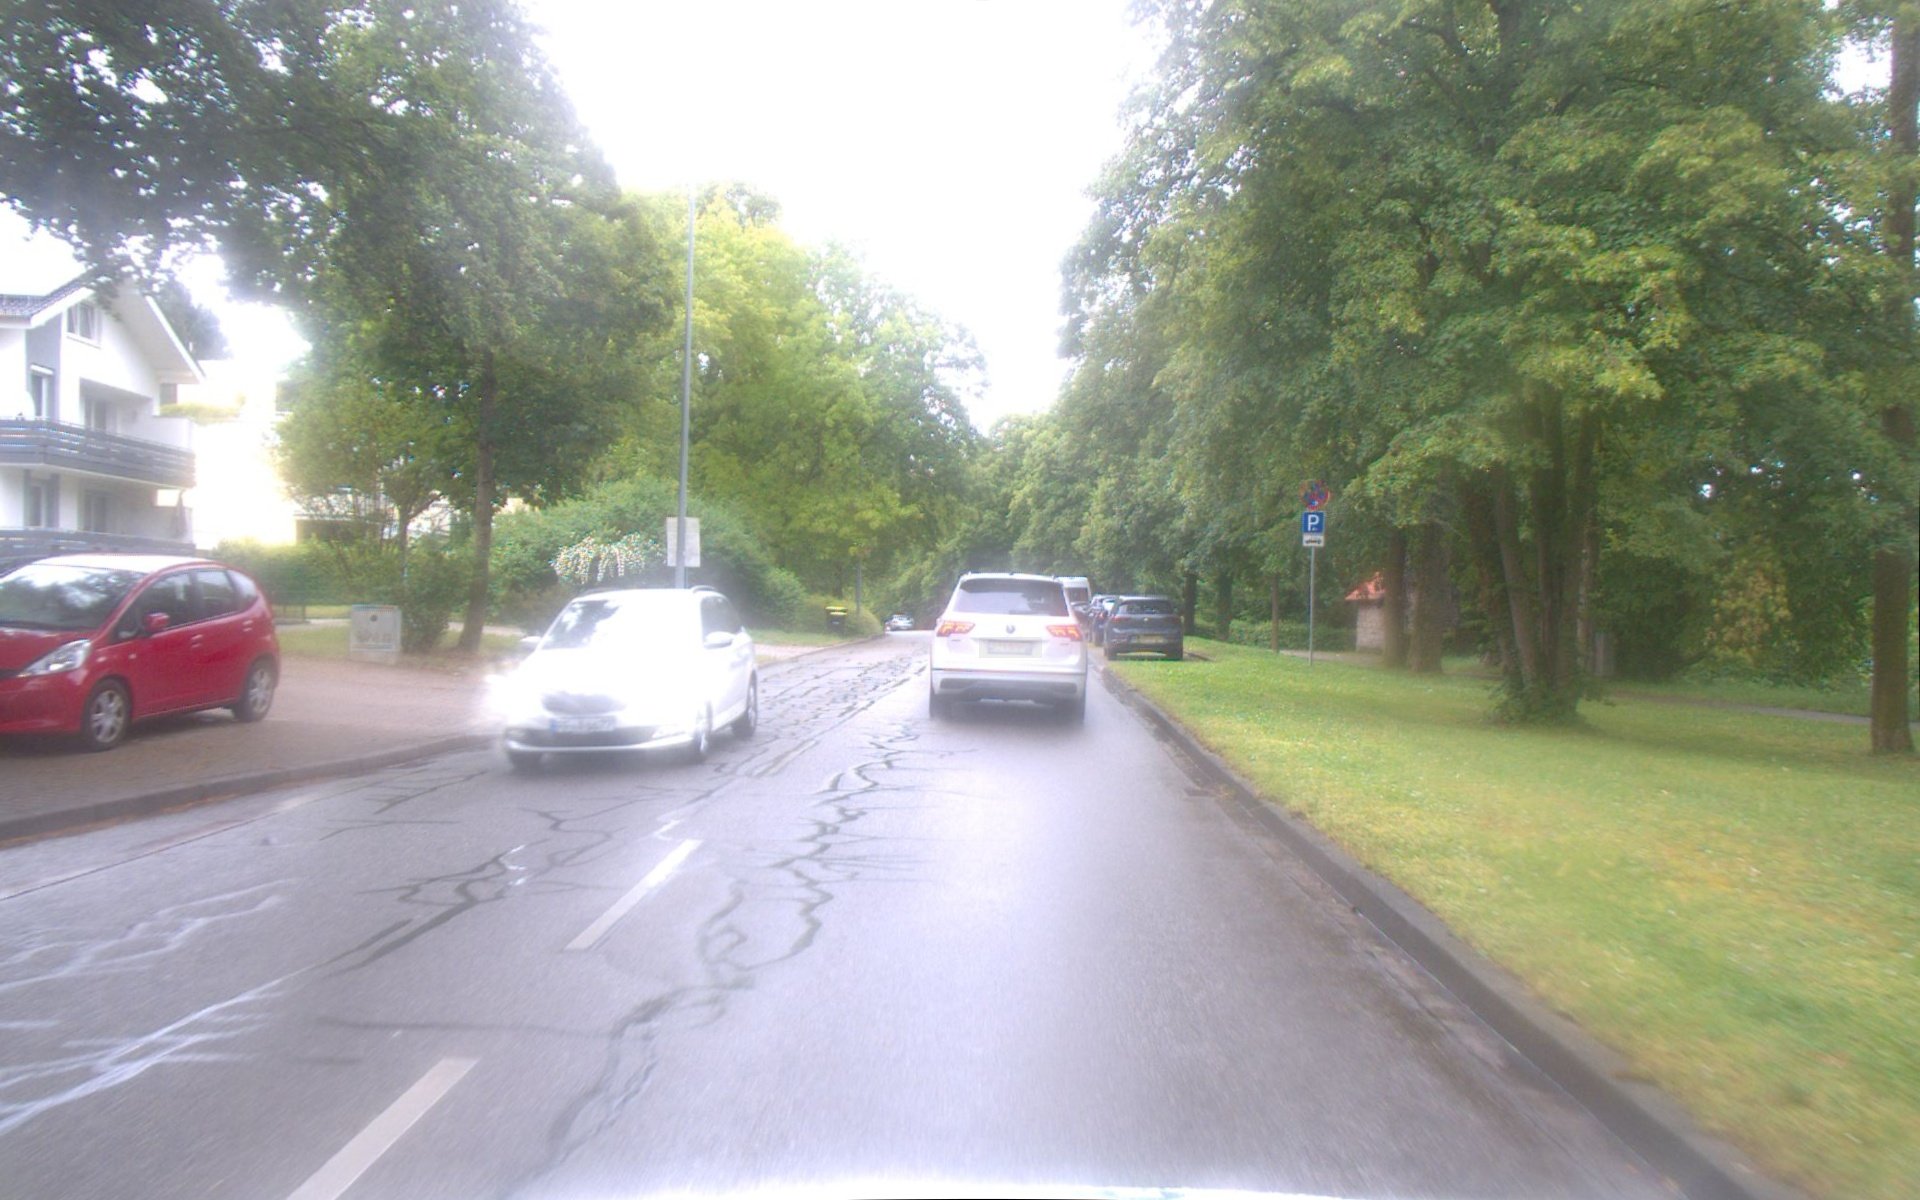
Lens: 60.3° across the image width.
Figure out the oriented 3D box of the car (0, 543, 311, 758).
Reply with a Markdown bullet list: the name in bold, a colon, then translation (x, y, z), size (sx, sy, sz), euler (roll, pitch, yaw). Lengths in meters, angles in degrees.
- **car**: translation (-7.634, 0.320, 14.629), size (1.952, 1.542, 4.003), euler (3, 2, 4)

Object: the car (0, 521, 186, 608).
- **car**: translation (-21.328, -0.863, 40.380), size (3.908, 2.049, 1.999), euler (0, 0, -4)

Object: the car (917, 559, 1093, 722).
- **car**: translation (0.484, 0.424, 20.025), size (1.866, 1.715, 4.200), euler (2, 0, 0)

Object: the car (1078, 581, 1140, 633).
- **car**: translation (4.486, 0.192, 50.206), size (1.706, 1.478, 4.002), euler (1, 0, 3)

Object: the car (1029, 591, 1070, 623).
- **car**: translation (4.518, 0.341, 84.073), size (1.768, 1.566, 4.266), euler (-1, 0, -1)

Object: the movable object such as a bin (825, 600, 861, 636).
- **movable object such as a bin**: translation (-3.828, 0.583, 54.201), size (1.016, 1.124, 0.966), euler (-3, 0, 3)

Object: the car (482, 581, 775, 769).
- **car**: translation (-2.836, 0.571, 15.029), size (1.665, 1.435, 4.010), euler (-2, 1, 2)

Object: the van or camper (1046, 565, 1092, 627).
- **van or camper**: translation (5.050, -0.212, 77.332), size (1.974, 2.628, 8.439), euler (2, 1, 3)

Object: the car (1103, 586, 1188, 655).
- **car**: translation (4.248, 0.447, 38.411), size (1.665, 1.487, 4.219), euler (-1, 0, 2)

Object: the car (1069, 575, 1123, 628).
- **car**: translation (4.662, 0.038, 57.064), size (1.744, 1.749, 4.263), euler (-1, 0, 3)

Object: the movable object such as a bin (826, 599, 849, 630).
- **movable object such as a bin**: translation (-4.071, 0.465, 54.907), size (0.634, 0.996, 0.578), euler (2, 0, 3)

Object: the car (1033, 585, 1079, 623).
- **car**: translation (3.988, 0.136, 68.809), size (1.826, 1.537, 3.726), euler (0, 0, 3)

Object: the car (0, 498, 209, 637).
- **car**: translation (-15.930, -0.611, 27.081), size (5.627, 2.073, 3.478), euler (2, 1, -2)
